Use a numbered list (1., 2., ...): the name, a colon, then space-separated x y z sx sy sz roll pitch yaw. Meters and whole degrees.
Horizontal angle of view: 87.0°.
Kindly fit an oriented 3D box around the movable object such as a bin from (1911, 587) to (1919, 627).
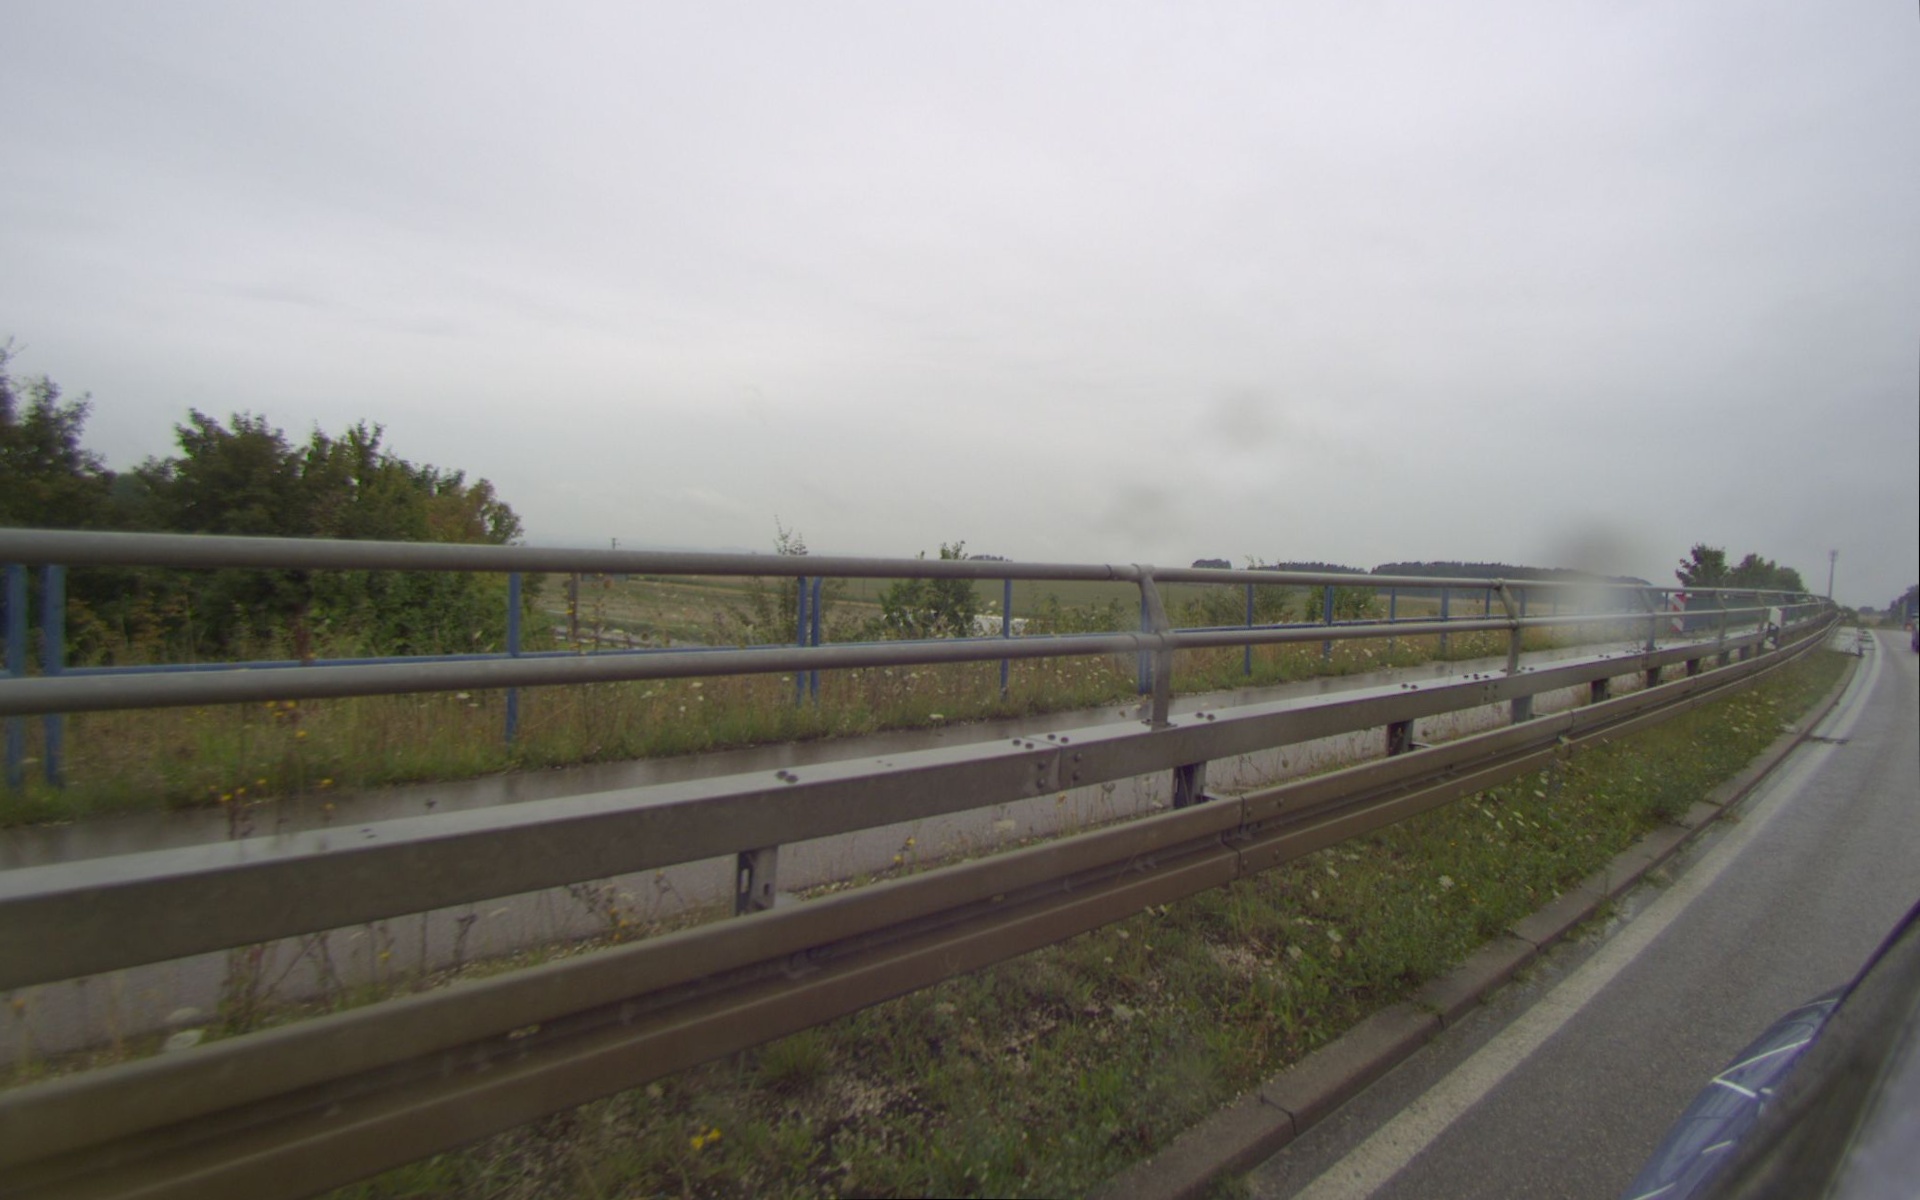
1. movable object such as a bin: 86.427 0.678 89.626 2.746 3.487 4.576 5 3 40

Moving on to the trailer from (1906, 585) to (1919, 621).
1. trailer: 114.359 0.469 119.860 2.817 4.019 13.528 4 2 41
